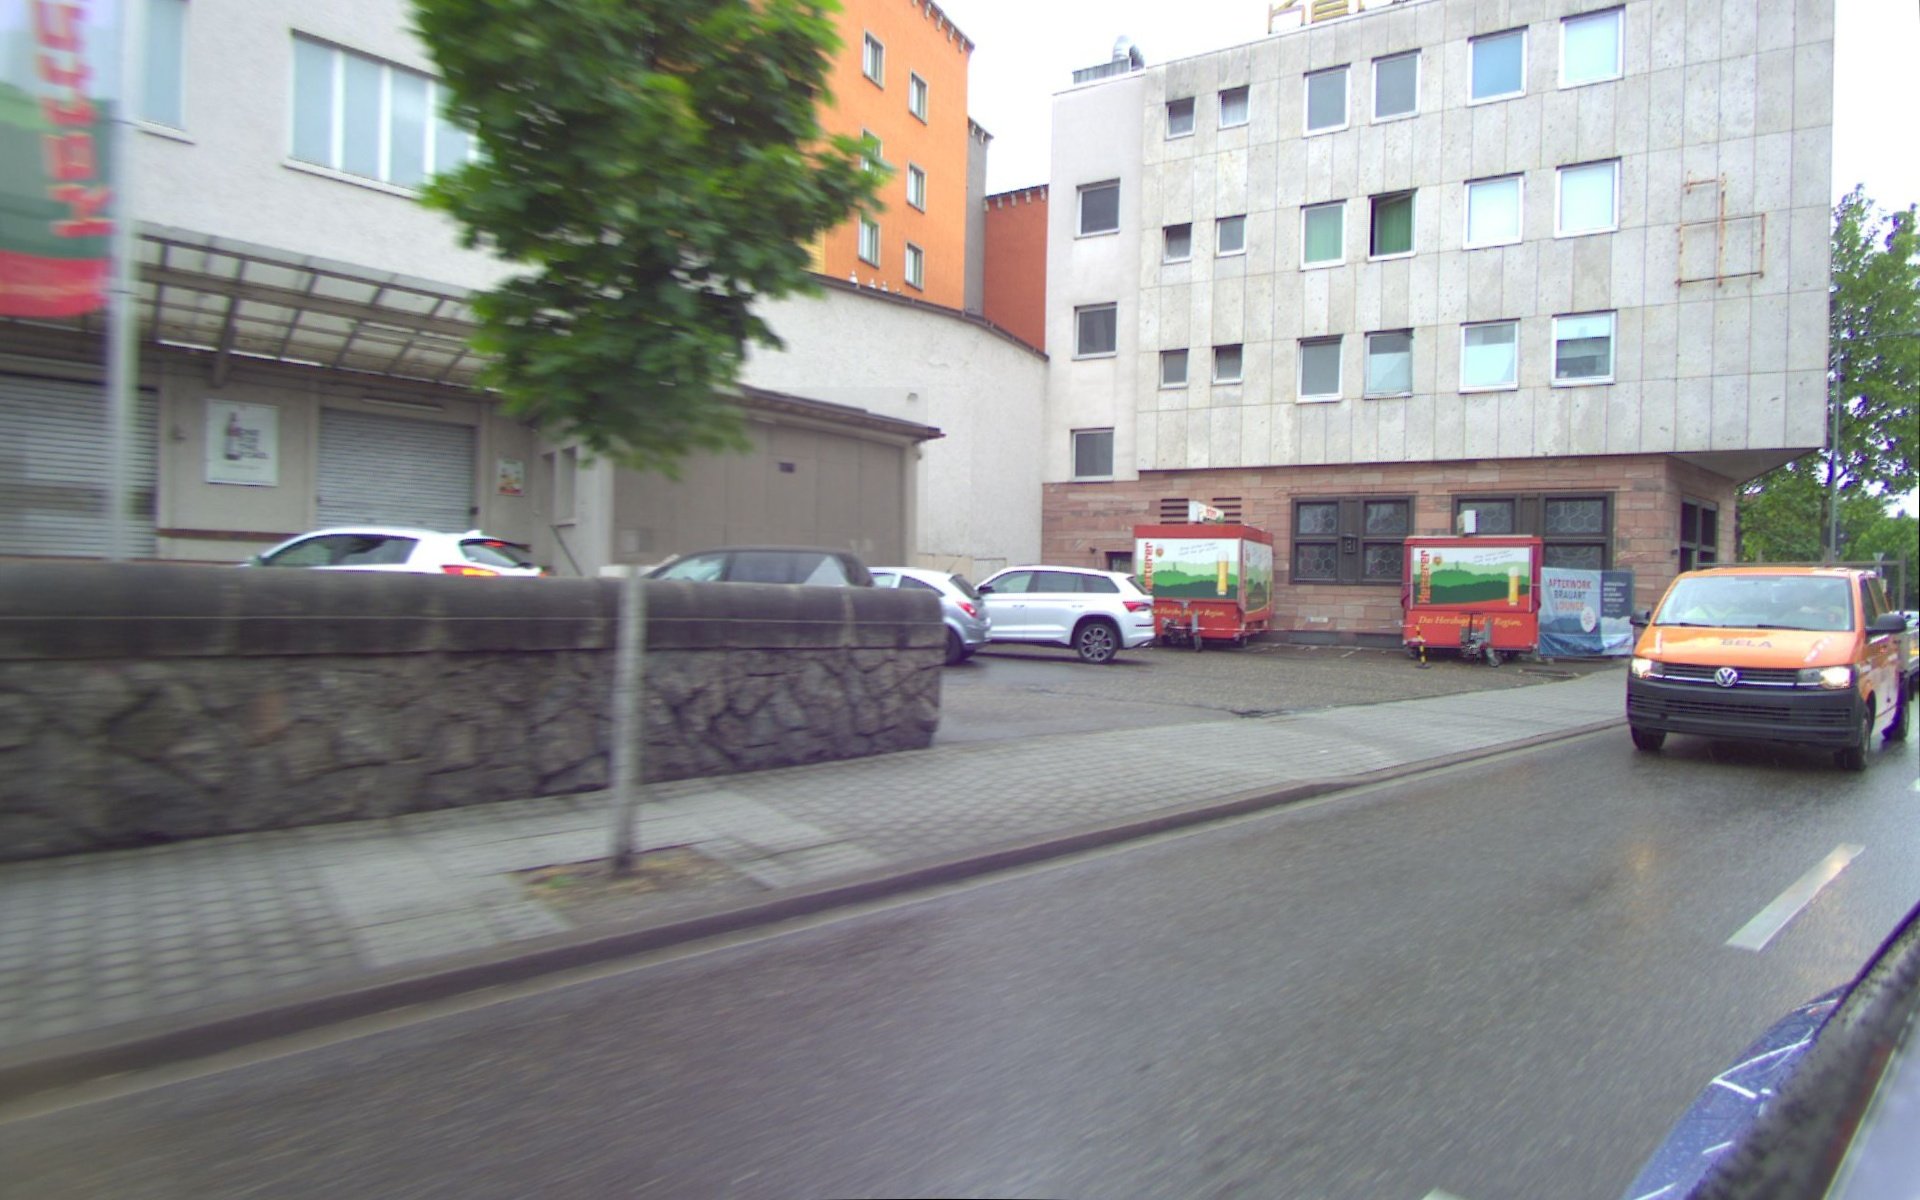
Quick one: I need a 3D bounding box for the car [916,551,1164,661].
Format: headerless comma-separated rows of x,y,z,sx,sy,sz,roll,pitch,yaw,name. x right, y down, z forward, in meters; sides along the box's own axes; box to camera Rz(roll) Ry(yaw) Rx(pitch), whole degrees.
1.474,0.077,18.368,4.207,1.669,1.862,3,1,10,car

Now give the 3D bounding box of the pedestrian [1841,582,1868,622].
43.212,0.108,48.883,0.738,1.852,0.686,6,3,34,pedestrian

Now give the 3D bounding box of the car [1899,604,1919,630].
92.375,1.708,96.400,4.906,2.348,1.978,3,1,-17,car

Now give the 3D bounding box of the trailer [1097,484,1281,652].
5.508,-0.702,23.556,2.724,3.348,6.015,1,1,27,trailer

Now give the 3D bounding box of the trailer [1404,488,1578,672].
10.698,-0.470,20.912,2.607,3.215,5.672,2,2,23,trailer

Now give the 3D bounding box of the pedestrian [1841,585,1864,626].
45.898,0.262,52.052,0.583,2.038,0.781,4,2,25,pedestrian

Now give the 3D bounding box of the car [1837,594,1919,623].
51.080,0.440,55.978,1.765,1.391,4.091,2,2,6,car

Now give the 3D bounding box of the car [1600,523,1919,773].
9.158,0.403,11.171,5.445,2.116,2.105,0,0,-42,car

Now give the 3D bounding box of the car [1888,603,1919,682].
18.812,0.789,18.746,1.887,1.422,4.303,1,0,36,car

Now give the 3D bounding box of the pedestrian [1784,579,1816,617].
38.563,-0.089,46.469,0.562,1.707,0.964,2,2,0,pedestrian

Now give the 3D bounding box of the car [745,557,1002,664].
-1.337,0.133,16.274,3.780,1.418,1.639,3,1,11,car

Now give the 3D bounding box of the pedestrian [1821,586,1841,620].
42.719,0.147,49.637,0.599,1.618,0.697,6,4,38,pedestrian

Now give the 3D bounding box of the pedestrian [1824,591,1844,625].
45.416,0.419,52.618,0.552,1.726,0.524,4,2,25,pedestrian

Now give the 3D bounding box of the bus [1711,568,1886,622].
58.344,-0.493,70.892,2.648,3.256,9.682,3,2,-13,bus

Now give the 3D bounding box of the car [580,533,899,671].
-3.021,-0.010,14.101,3.942,1.603,1.764,3,1,15,car

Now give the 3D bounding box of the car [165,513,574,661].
-6.983,-0.162,12.193,3.915,1.588,1.922,1,0,8,car
